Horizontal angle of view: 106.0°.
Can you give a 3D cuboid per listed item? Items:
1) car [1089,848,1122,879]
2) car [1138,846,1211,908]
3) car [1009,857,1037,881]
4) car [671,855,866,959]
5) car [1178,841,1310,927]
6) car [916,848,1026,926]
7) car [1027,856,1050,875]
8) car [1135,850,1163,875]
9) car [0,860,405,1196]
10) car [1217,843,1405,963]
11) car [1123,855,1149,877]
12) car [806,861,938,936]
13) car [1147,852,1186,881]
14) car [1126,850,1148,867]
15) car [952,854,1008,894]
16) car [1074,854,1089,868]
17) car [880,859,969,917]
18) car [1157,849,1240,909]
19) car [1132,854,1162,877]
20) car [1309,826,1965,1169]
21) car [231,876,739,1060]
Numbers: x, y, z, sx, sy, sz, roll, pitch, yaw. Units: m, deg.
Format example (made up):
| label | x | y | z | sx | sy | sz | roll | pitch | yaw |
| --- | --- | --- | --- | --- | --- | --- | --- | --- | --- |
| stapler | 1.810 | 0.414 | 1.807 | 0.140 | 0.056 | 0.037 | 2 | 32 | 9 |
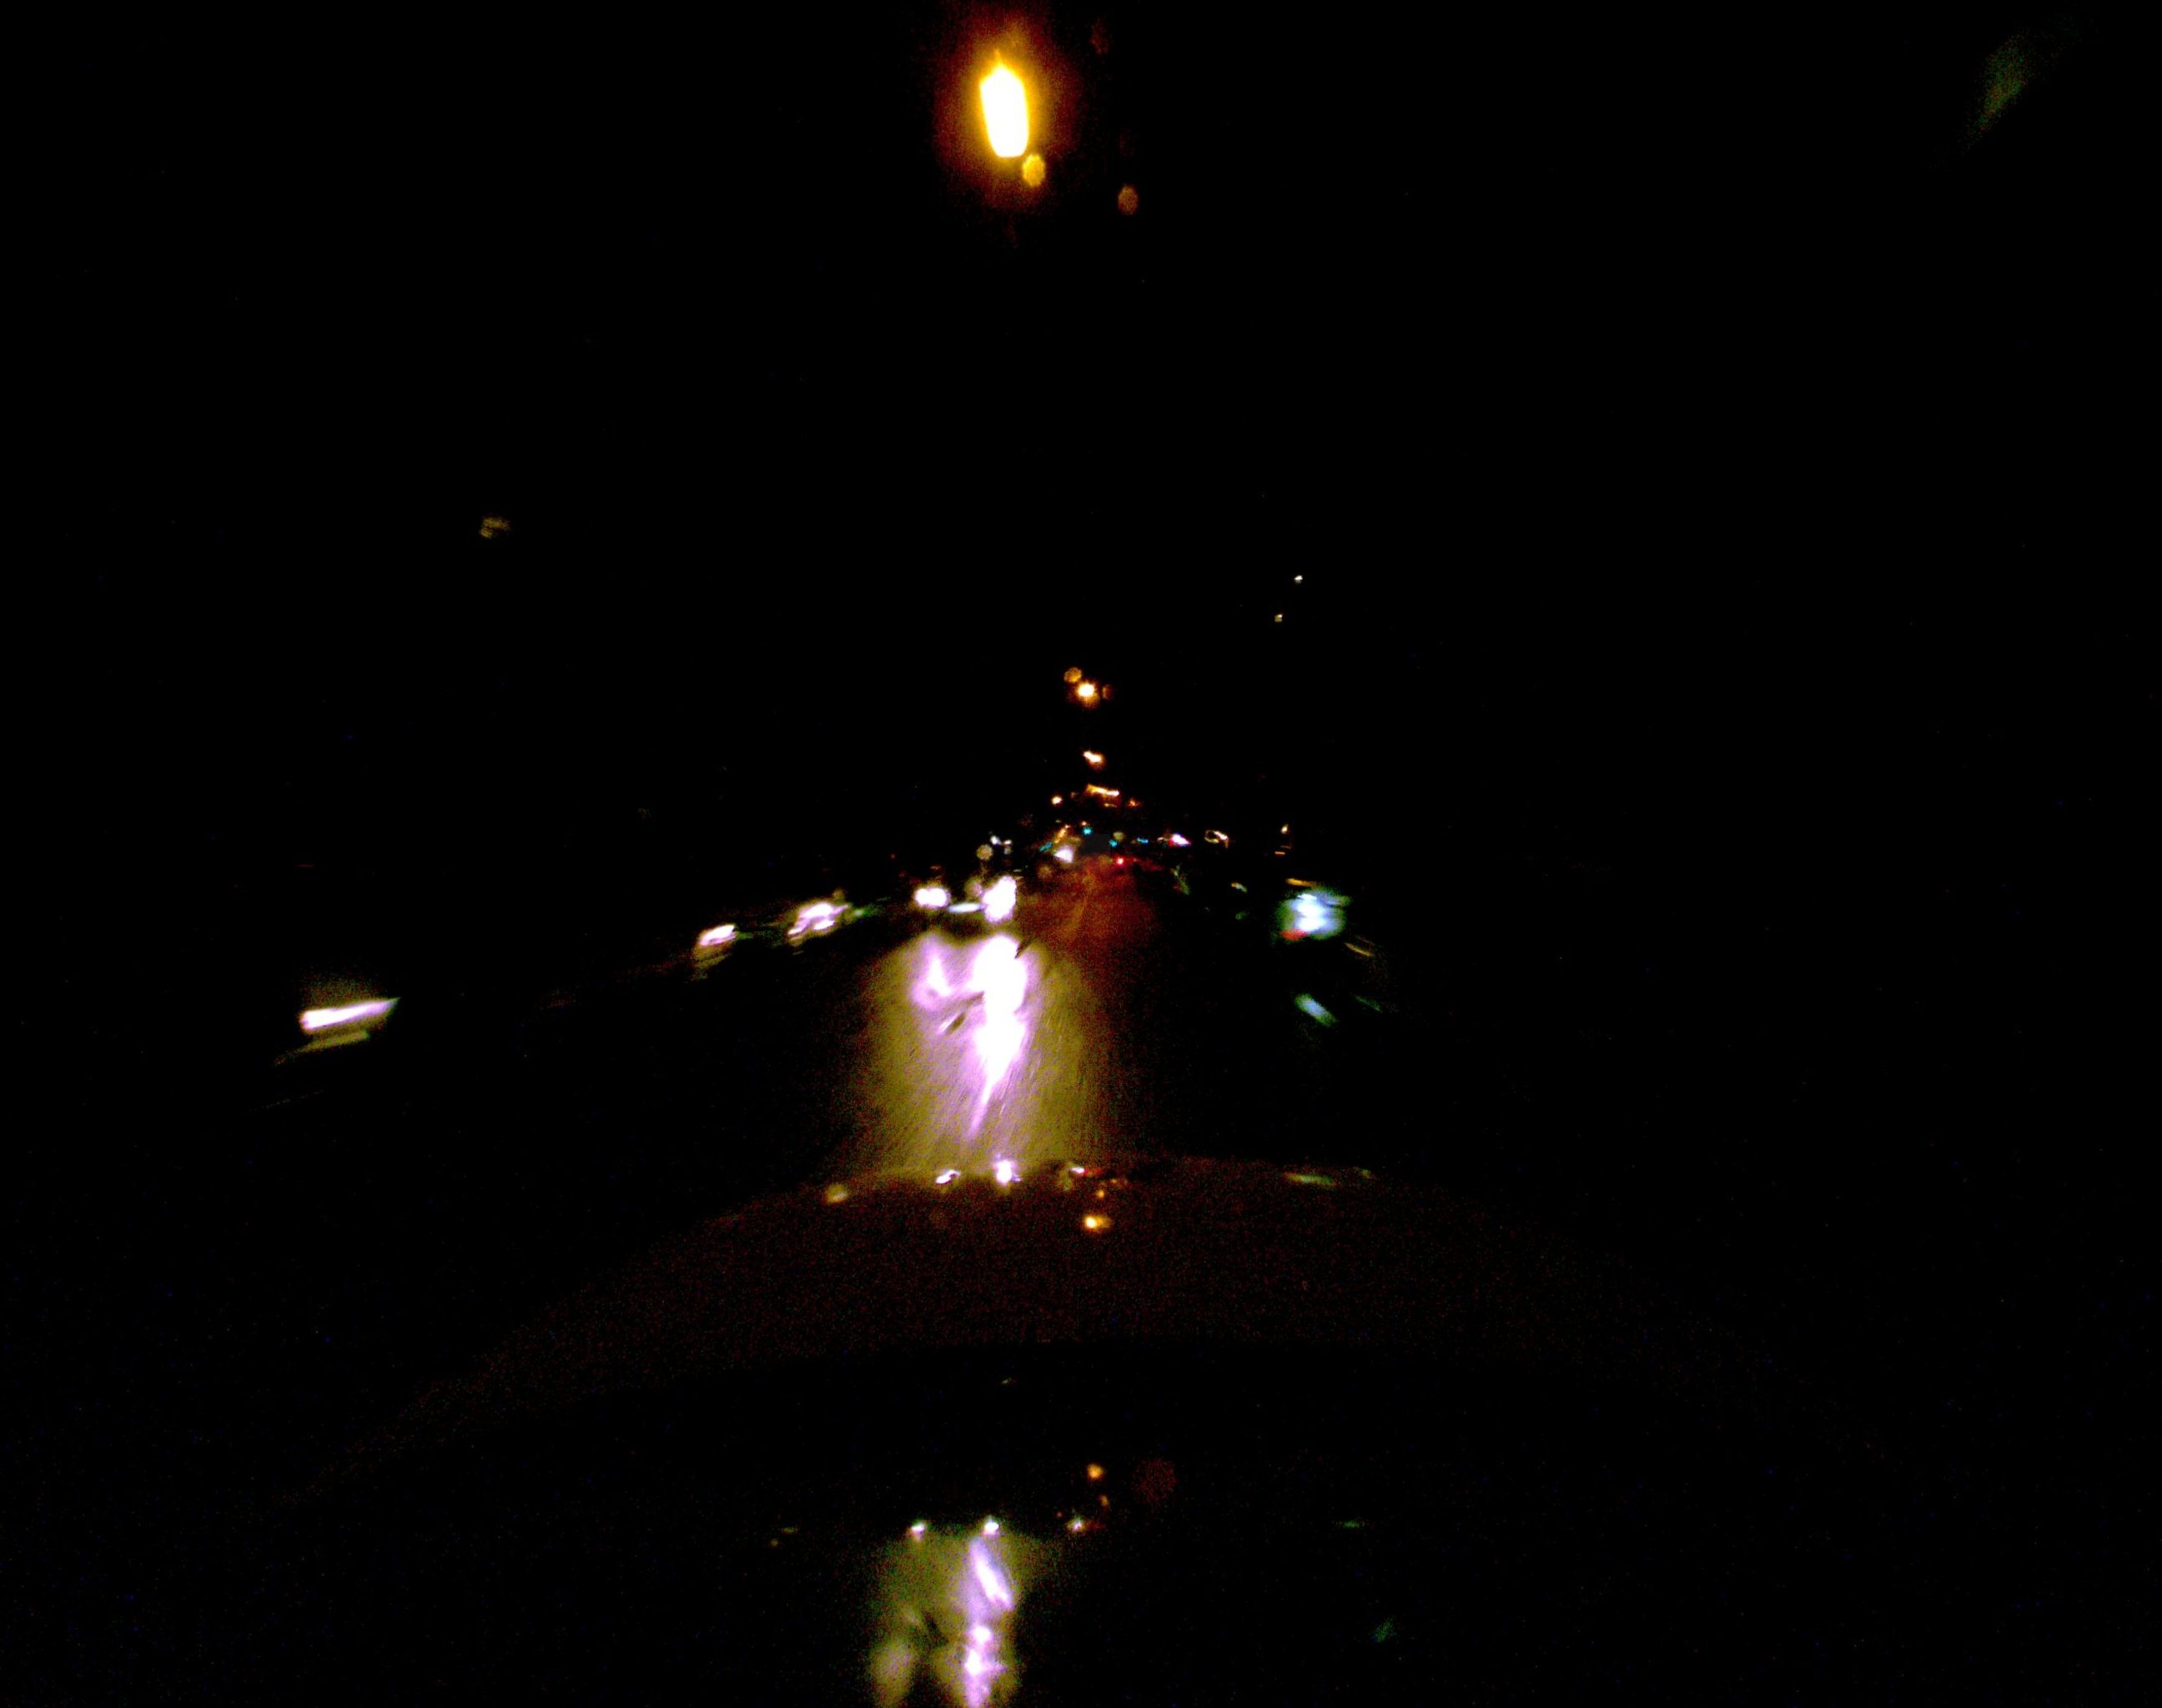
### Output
| label | x | y | z | sx | sy | sz | roll | pitch | yaw |
| --- | --- | --- | --- | --- | --- | --- | --- | --- | --- |
| car | 1.756 | 0.646 | 56.767 | 2.159 | 1.972 | 4.305 | -2 | 0 | 3 |
| car | 3.254 | 0.760 | 29.493 | 1.790 | 1.950 | 5.852 | -2 | 0 | -1 |
| car | -3.932 | 1.025 | 55.500 | 1.425 | 1.460 | 3.377 | -4 | 0 | 3 |
| car | -5.370 | 0.823 | 14.630 | 1.699 | 1.540 | 4.062 | -2 | 0 | 3 |
| car | 3.437 | 0.577 | 18.100 | 1.862 | 1.579 | 4.746 | -2 | 0 | -1 |
| car | -2.428 | 0.676 | 19.028 | 1.699 | 1.540 | 4.374 | -2 | 0 | 3 |
| car | -3.638 | 0.942 | 70.026 | 1.593 | 1.431 | 4.004 | -4 | 0 | 0 |
| car | 4.599 | 0.558 | 55.551 | 1.747 | 1.548 | 4.982 | -2 | 0 | 3 |
| car | -5.726 | 0.821 | 3.511 | 1.788 | 1.473 | 4.398 | -2 | 0 | 2 |
| car | 3.449 | 0.658 | 13.017 | 1.790 | 1.548 | 3.950 | -2 | 0 | -1 |
| car | 4.081 | 0.862 | 60.479 | 1.816 | 1.548 | 4.357 | -2 | 0 | 4 |
| car | -4.738 | 0.940 | 19.174 | 1.612 | 1.418 | 4.679 | -2 | 0 | 3 |
| car | 4.700 | 0.672 | 45.360 | 1.669 | 1.487 | 4.279 | -2 | 0 | 0 |
| car | 5.186 | 0.406 | 76.276 | 1.816 | 1.422 | 4.489 | -2 | 0 | 1 |
| car | -4.456 | 0.841 | 36.606 | 1.659 | 1.539 | 4.394 | -4 | 0 | 3 |
| car | 0.055 | 1.122 | 132.903 | 2.029 | 1.953 | 5.196 | -3 | 1 | -2 |
| car | -4.772 | 0.986 | 25.462 | 1.659 | 1.540 | 4.394 | -2 | 0 | 3 |
| car | 3.366 | 0.663 | 24.024 | 1.790 | 1.548 | 3.950 | -2 | 0 | -1 |
| car | 4.005 | 0.668 | 49.743 | 1.451 | 1.306 | 3.628 | -2 | 0 | 0 |
| car | 3.082 | 0.642 | 5.663 | 1.790 | 1.473 | 3.950 | -2 | 0 | -1 |
| car | -5.774 | 0.987 | 8.852 | 1.830 | 1.268 | 4.642 | -2 | 0 | 4 |
